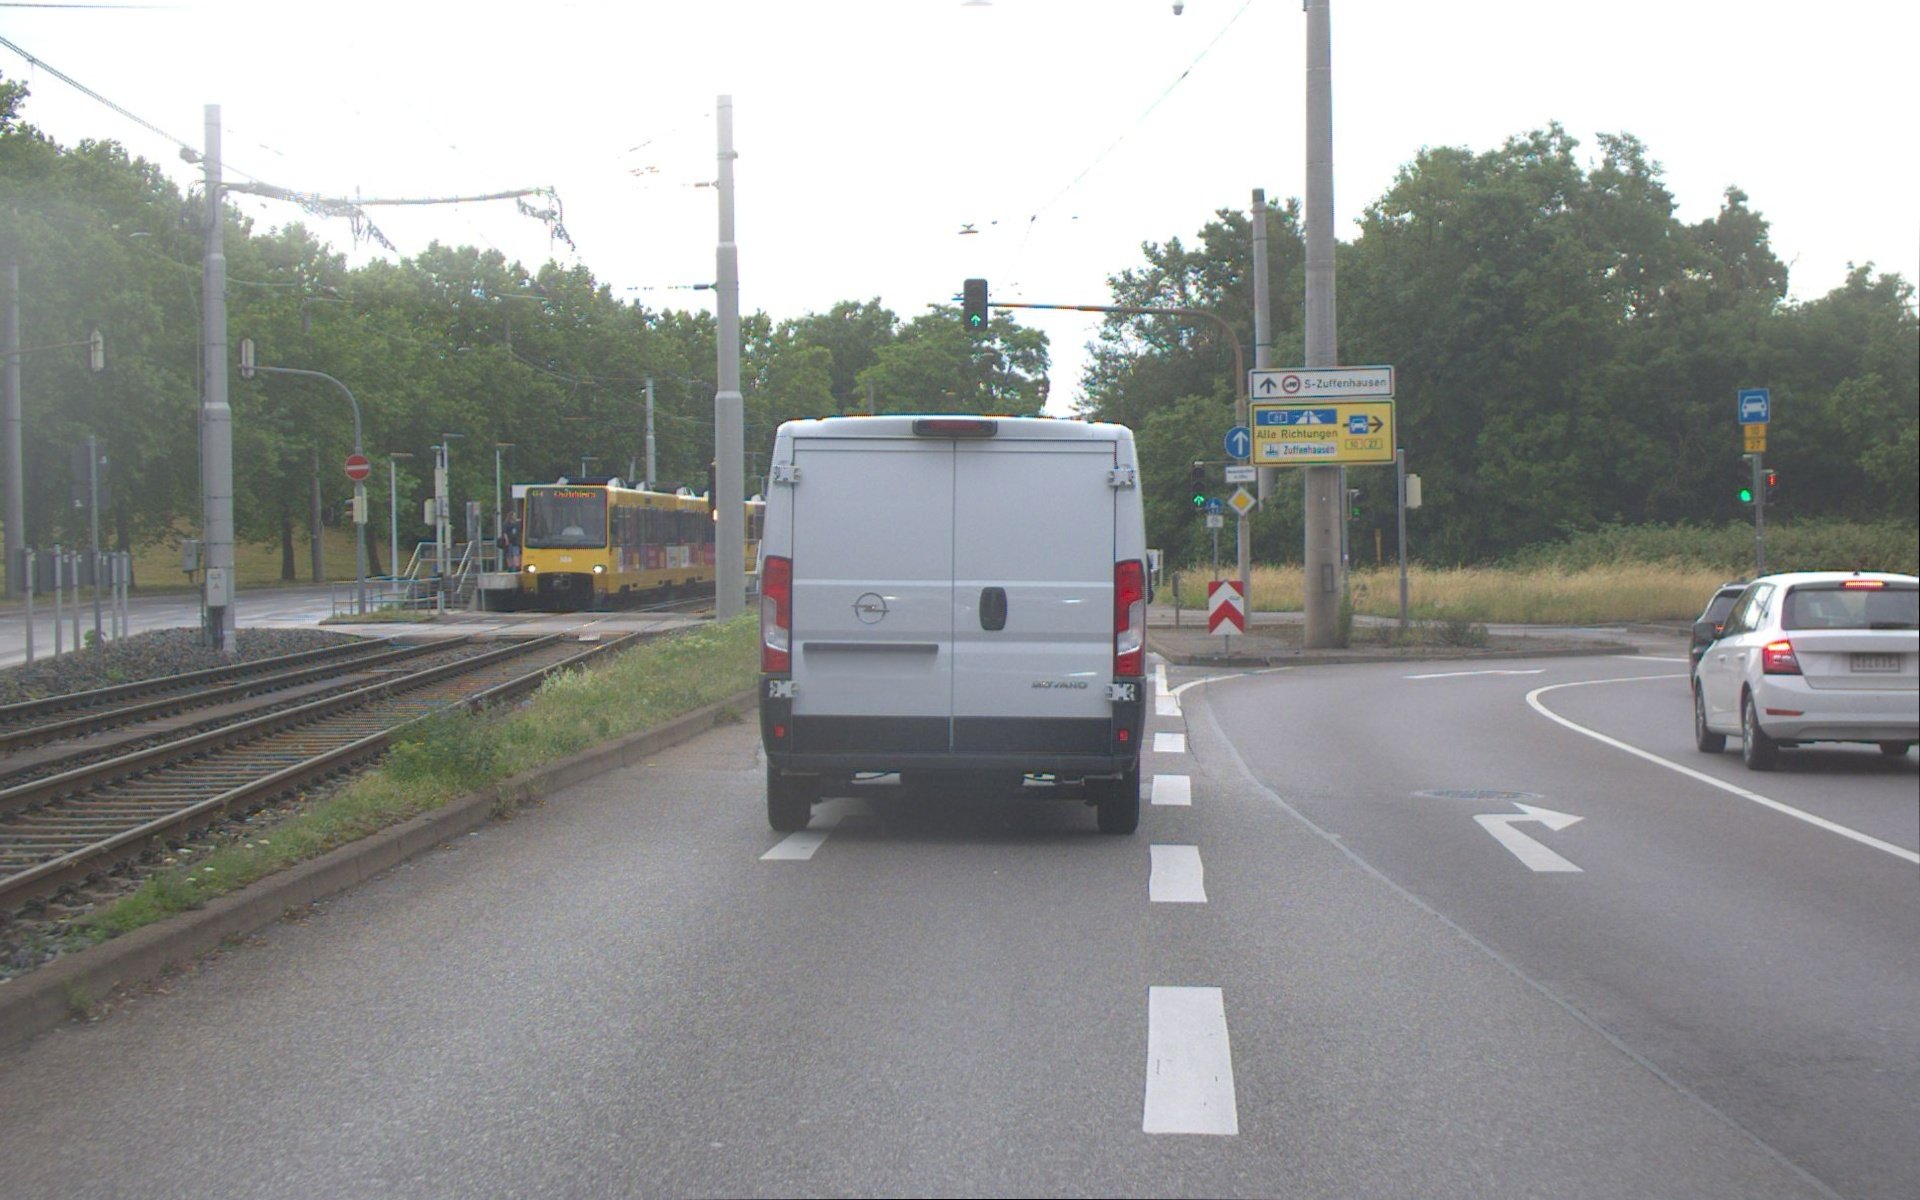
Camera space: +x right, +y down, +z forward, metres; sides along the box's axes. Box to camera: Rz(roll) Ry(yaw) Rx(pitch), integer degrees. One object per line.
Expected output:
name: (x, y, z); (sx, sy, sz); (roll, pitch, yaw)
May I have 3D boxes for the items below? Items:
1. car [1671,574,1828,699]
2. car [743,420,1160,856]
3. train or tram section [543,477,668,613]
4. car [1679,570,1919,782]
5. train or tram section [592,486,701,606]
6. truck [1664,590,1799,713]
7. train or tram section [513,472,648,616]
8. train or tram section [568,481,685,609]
car: (9.781, 0.413, 42.665); (1.790, 1.444, 3.998); (1, 1, 13)
car: (-0.103, 0.141, 20.157); (2.090, 2.189, 5.061); (1, 1, -1)
train or tram section: (-10.755, -1.673, 104.918); (2.928, 3.919, 7.005); (2, 1, 0)
car: (6.622, 0.526, 26.213); (1.747, 1.452, 3.670); (1, 1, 5)
train or tram section: (-10.673, -1.836, 117.539); (2.928, 3.919, 7.005); (2, 1, 0)
truck: (12.285, 0.791, 54.786); (1.994, 1.784, 4.412); (-1, 1, 13)
train or tram section: (-10.816, -1.594, 98.656); (2.928, 3.919, 7.005); (2, 1, 0)
train or tram section: (-10.717, -1.754, 111.164); (2.928, 3.919, 7.005); (2, 1, 0)
